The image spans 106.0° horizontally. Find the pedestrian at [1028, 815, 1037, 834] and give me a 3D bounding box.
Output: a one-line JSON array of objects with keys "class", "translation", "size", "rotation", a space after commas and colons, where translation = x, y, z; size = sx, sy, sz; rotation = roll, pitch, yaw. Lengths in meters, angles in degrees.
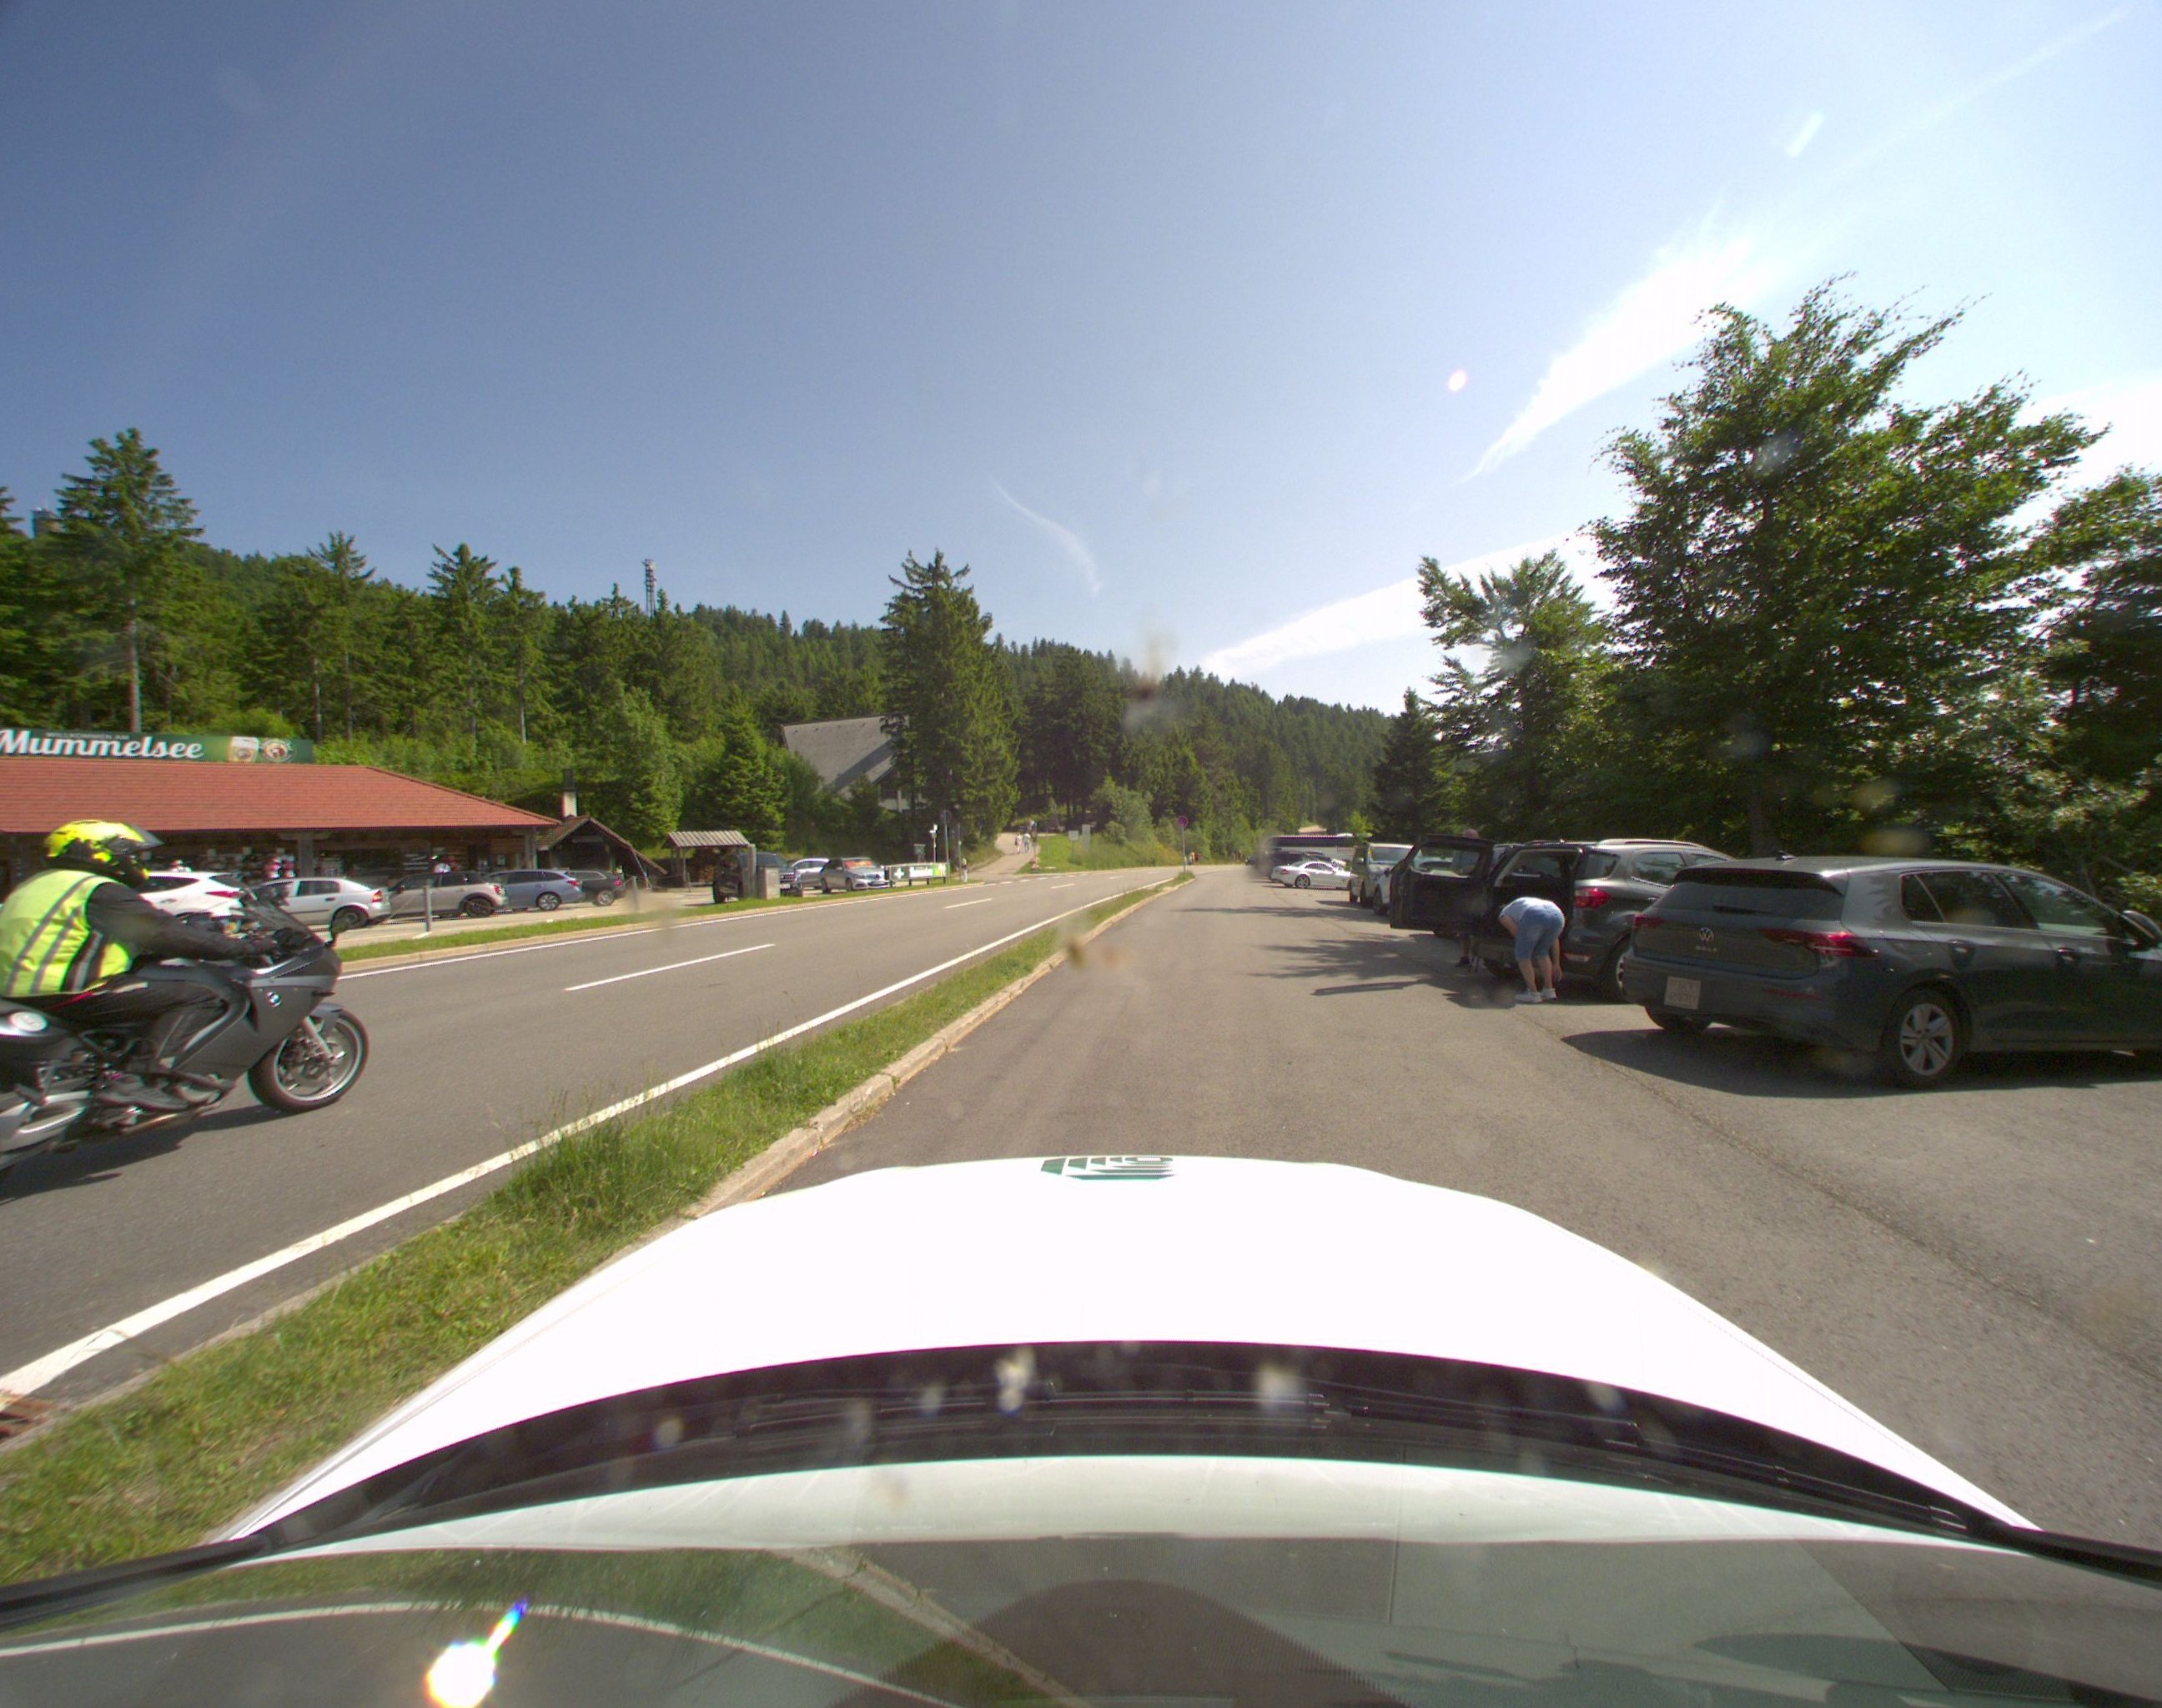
[{"class": "pedestrian", "translation": [-5.313, -3.208, 89.029], "size": [0.812, 2.013, 0.854], "rotation": [-3, 1, 1]}]

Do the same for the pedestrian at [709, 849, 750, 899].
[{"class": "pedestrian", "translation": [-12.792, 0.727, 29.624], "size": [0.891, 1.734, 0.963], "rotation": [-3, 1, 9]}]

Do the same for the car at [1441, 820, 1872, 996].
[{"class": "car", "translation": [6.466, 0.602, 9.267], "size": [3.997, 1.662, 1.988], "rotation": [3, 0, -18]}]

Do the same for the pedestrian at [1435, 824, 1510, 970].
[{"class": "pedestrian", "translation": [4.913, 0.518, 10.229], "size": [0.636, 1.760, 0.574], "rotation": [2, 0, -36]}]

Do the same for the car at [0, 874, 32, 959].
[{"class": "car", "translation": [-22.034, 1.283, 14.263], "size": [4.018, 1.574, 1.978], "rotation": [-4, 1, -36]}]

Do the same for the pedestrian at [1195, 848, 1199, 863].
[{"class": "pedestrian", "translation": [13.480, 0.208, 94.323], "size": [0.392, 1.747, 0.407], "rotation": [-3, 1, 10]}]

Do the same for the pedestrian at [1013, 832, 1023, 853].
[{"class": "pedestrian", "translation": [-5.139, -0.963, 66.765], "size": [0.650, 1.667, 0.643], "rotation": [-2, -1, 3]}]

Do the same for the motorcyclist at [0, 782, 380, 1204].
[{"class": "motorcyclist", "translation": [-4.510, 0.549, 3.954], "size": [1.019, 1.675, 1.297], "rotation": [0, 0, 10]}]

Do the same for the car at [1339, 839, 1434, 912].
[{"class": "car", "translation": [9.473, 0.591, 25.672], "size": [1.893, 1.972, 4.833], "rotation": [3, 1, 10]}]

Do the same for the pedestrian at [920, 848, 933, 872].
[{"class": "pedestrian", "translation": [-9.836, 0.383, 51.792], "size": [0.573, 1.532, 0.554], "rotation": [-3, 1, 9]}]

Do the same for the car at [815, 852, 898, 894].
[{"class": "car", "translation": [-8.918, 0.738, 32.166], "size": [1.752, 1.441, 3.926], "rotation": [-4, 1, -37]}]

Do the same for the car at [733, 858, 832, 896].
[{"class": "car", "translation": [-13.980, 1.034, 38.275], "size": [4.022, 1.494, 1.665], "rotation": [-3, 3, -41]}]

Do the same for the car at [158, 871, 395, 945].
[{"class": "car", "translation": [-20.438, 1.321, 20.968], "size": [4.044, 1.468, 1.757], "rotation": [-4, 0, -37]}]

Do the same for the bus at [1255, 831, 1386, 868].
[{"class": "bus", "translation": [24.801, -0.450, 84.683], "size": [12.742, 3.577, 3.000], "rotation": [0, 2, 26]}]

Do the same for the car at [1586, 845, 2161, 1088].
[{"class": "car", "translation": [6.275, 0.692, 6.179], "size": [3.989, 1.442, 1.833], "rotation": [1, 1, -12]}]

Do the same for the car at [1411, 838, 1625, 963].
[{"class": "car", "translation": [6.906, 0.643, 13.428], "size": [1.733, 1.632, 4.320], "rotation": [3, 0, 9]}]

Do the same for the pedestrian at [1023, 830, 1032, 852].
[{"class": "pedestrian", "translation": [-4.438, -1.039, 67.463], "size": [0.650, 1.799, 0.643], "rotation": [-2, 0, 3]}]

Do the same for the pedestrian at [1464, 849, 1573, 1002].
[{"class": "pedestrian", "translation": [4.247, 0.675, 7.956], "size": [0.767, 1.402, 0.672], "rotation": [-2, 1, 16]}]

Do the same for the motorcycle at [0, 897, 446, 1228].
[{"class": "motorcycle", "translation": [-4.514, 0.870, 3.941], "size": [0.817, 1.177, 2.293], "rotation": [0, 1, 10]}]

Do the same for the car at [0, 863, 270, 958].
[{"class": "car", "translation": [-20.780, 1.179, 17.776], "size": [4.050, 1.672, 1.757], "rotation": [-4, 0, -37]}]

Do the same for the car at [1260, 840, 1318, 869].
[{"class": "car", "translation": [15.131, 0.019, 59.493], "size": [3.961, 1.814, 1.946], "rotation": [3, 3, 12]}]

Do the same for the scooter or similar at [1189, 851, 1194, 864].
[{"class": "scooter or similar", "translation": [12.802, 0.418, 94.124], "size": [0.480, 1.379, 0.819], "rotation": [-3, 1, 9]}]

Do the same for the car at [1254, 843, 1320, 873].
[{"class": "car", "translation": [13.245, 0.247, 52.574], "size": [3.963, 1.719, 1.873], "rotation": [3, 2, 9]}]

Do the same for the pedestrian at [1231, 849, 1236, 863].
[{"class": "pedestrian", "translation": [21.768, 0.286, 116.237], "size": [0.618, 1.900, 0.656], "rotation": [-3, -2, 9]}]

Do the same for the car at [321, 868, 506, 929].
[{"class": "car", "translation": [-19.520, 1.267, 24.069], "size": [4.017, 1.419, 1.667], "rotation": [-4, 0, -35]}]

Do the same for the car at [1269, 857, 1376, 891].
[{"class": "car", "translation": [11.189, 0.906, 37.867], "size": [4.448, 1.298, 1.579], "rotation": [3, 1, -7]}]

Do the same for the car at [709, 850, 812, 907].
[{"class": "car", "translation": [-10.345, 0.760, 26.150], "size": [1.799, 1.634, 4.161], "rotation": [-1, 0, -41]}]

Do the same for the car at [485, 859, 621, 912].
[{"class": "car", "translation": [-19.421, 1.098, 30.102], "size": [4.016, 1.617, 1.979], "rotation": [-4, 2, -34]}]

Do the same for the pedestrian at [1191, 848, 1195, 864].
[{"class": "pedestrian", "translation": [13.030, 0.218, 94.742], "size": [0.412, 1.747, 0.458], "rotation": [-3, 1, 9]}]

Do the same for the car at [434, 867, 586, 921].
[{"class": "car", "translation": [-19.012, 1.293, 27.292], "size": [4.017, 1.419, 1.666], "rotation": [-4, 0, -35]}]

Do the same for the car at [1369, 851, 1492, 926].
[{"class": "car", "translation": [8.213, 0.744, 19.504], "size": [1.670, 1.518, 4.059], "rotation": [3, 0, 8]}]

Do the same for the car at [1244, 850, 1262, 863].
[{"class": "car", "translation": [23.634, 0.268, 111.962], "size": [1.978, 1.662, 4.018], "rotation": [-1, 0, 17]}]

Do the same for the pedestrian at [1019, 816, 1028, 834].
[{"class": "pedestrian", "translation": [-6.252, -3.166, 89.081], "size": [0.794, 2.013, 0.940], "rotation": [-3, 1, 1]}]

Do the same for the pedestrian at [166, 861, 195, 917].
[{"class": "pedestrian", "translation": [-30.800, 1.191, 27.861], "size": [0.531, 1.873, 0.541], "rotation": [-1, 0, -37]}]

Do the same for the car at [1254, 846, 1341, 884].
[{"class": "car", "translation": [11.251, 0.564, 42.578], "size": [3.972, 1.699, 2.002], "rotation": [3, 2, 2]}]

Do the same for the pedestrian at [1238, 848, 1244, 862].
[{"class": "pedestrian", "translation": [22.621, 0.123, 115.402], "size": [0.728, 2.014, 0.864], "rotation": [-3, -2, 9]}]
